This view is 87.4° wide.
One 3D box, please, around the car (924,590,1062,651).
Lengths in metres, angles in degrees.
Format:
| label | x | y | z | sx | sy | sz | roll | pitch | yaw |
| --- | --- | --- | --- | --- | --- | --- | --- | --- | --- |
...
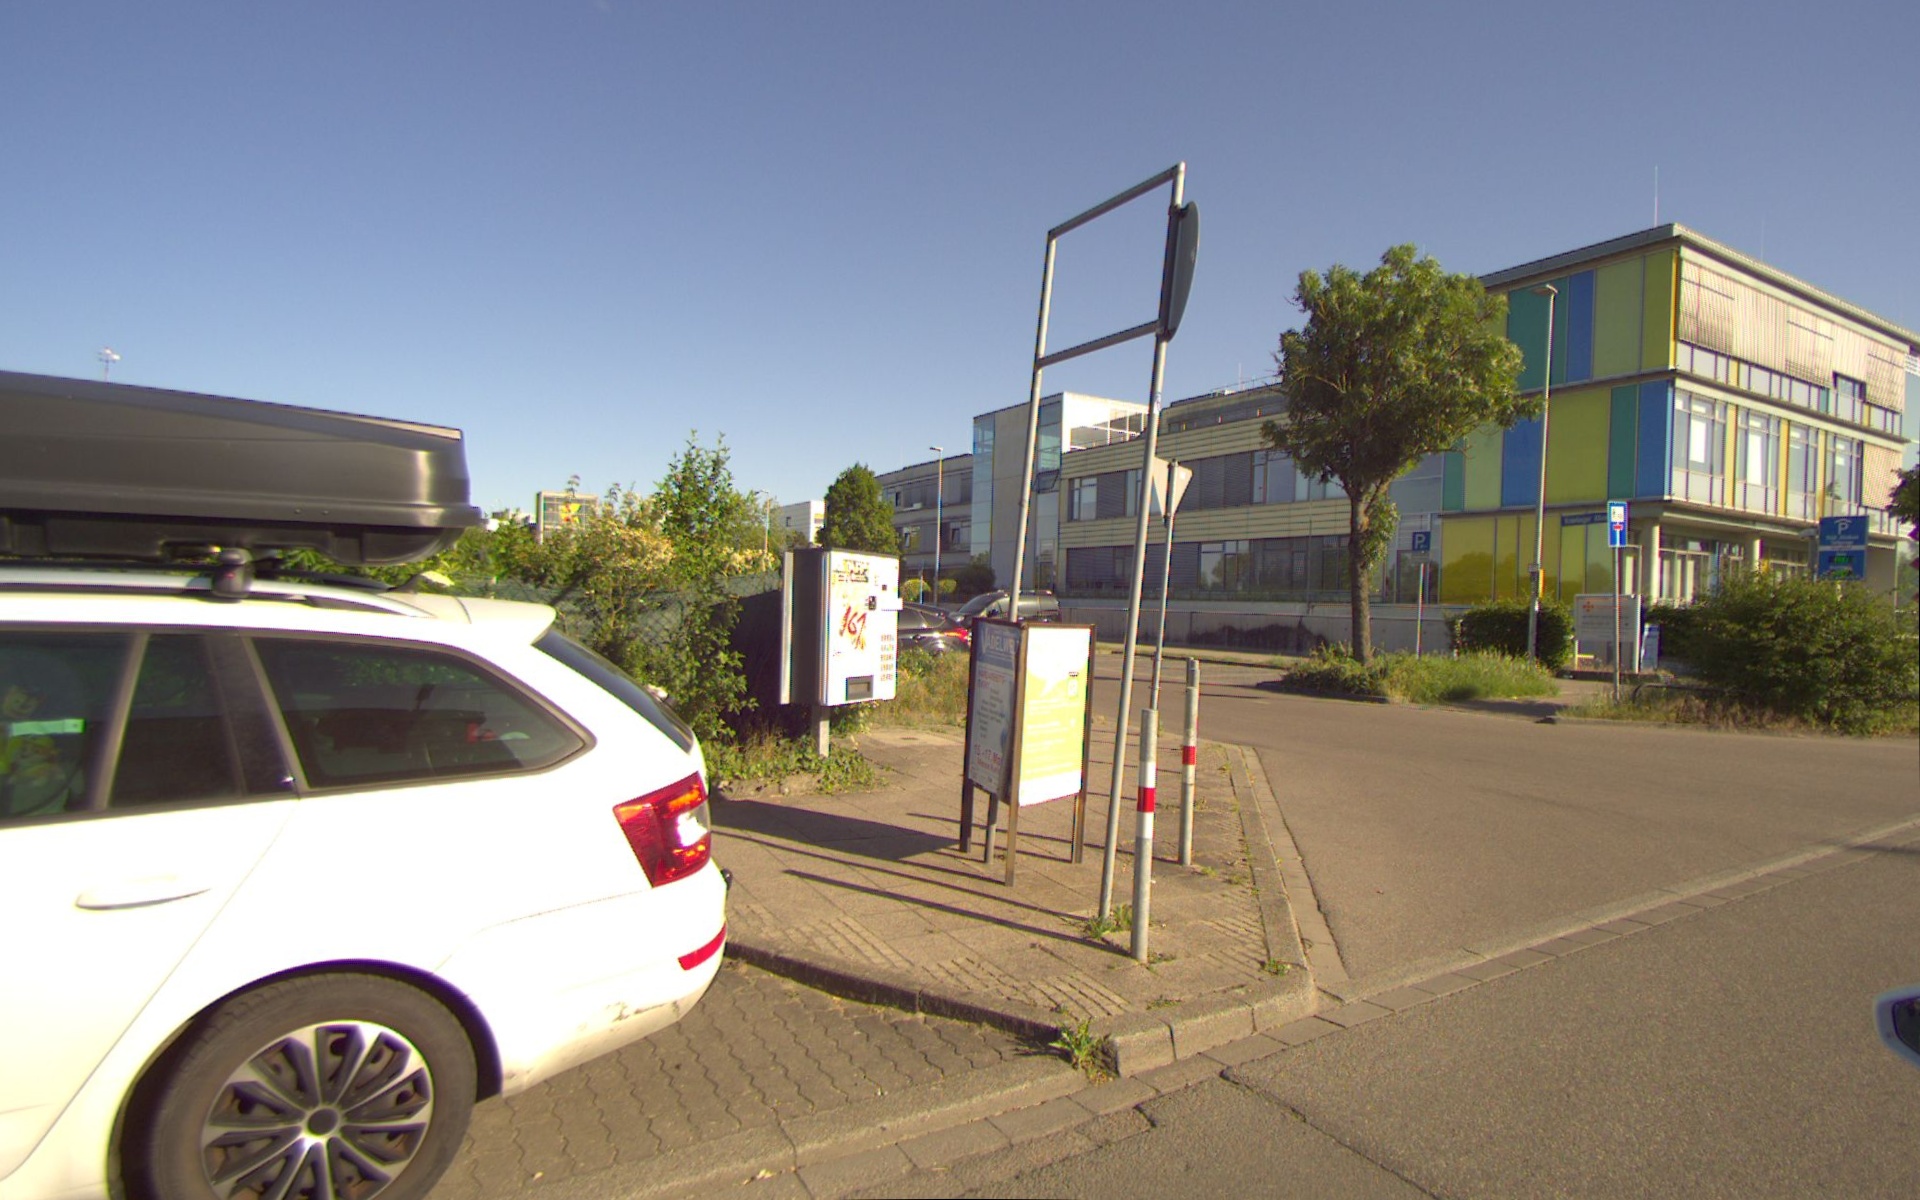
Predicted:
| label | x | y | z | sx | sy | sz | roll | pitch | yaw |
| --- | --- | --- | --- | --- | --- | --- | --- | --- | --- |
| car | 1.052 | 0.647 | 31.402 | 4.048 | 1.813 | 1.501 | 1 | 0 | -25 |

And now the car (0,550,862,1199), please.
| label | x | y | z | sx | sy | sz | roll | pitch | yaw |
| --- | --- | --- | --- | --- | --- | --- | --- | --- | --- |
| car | -2.628 | 0.651 | 2.326 | 4.466 | 1.534 | 1.686 | 2 | 2 | -32 |
